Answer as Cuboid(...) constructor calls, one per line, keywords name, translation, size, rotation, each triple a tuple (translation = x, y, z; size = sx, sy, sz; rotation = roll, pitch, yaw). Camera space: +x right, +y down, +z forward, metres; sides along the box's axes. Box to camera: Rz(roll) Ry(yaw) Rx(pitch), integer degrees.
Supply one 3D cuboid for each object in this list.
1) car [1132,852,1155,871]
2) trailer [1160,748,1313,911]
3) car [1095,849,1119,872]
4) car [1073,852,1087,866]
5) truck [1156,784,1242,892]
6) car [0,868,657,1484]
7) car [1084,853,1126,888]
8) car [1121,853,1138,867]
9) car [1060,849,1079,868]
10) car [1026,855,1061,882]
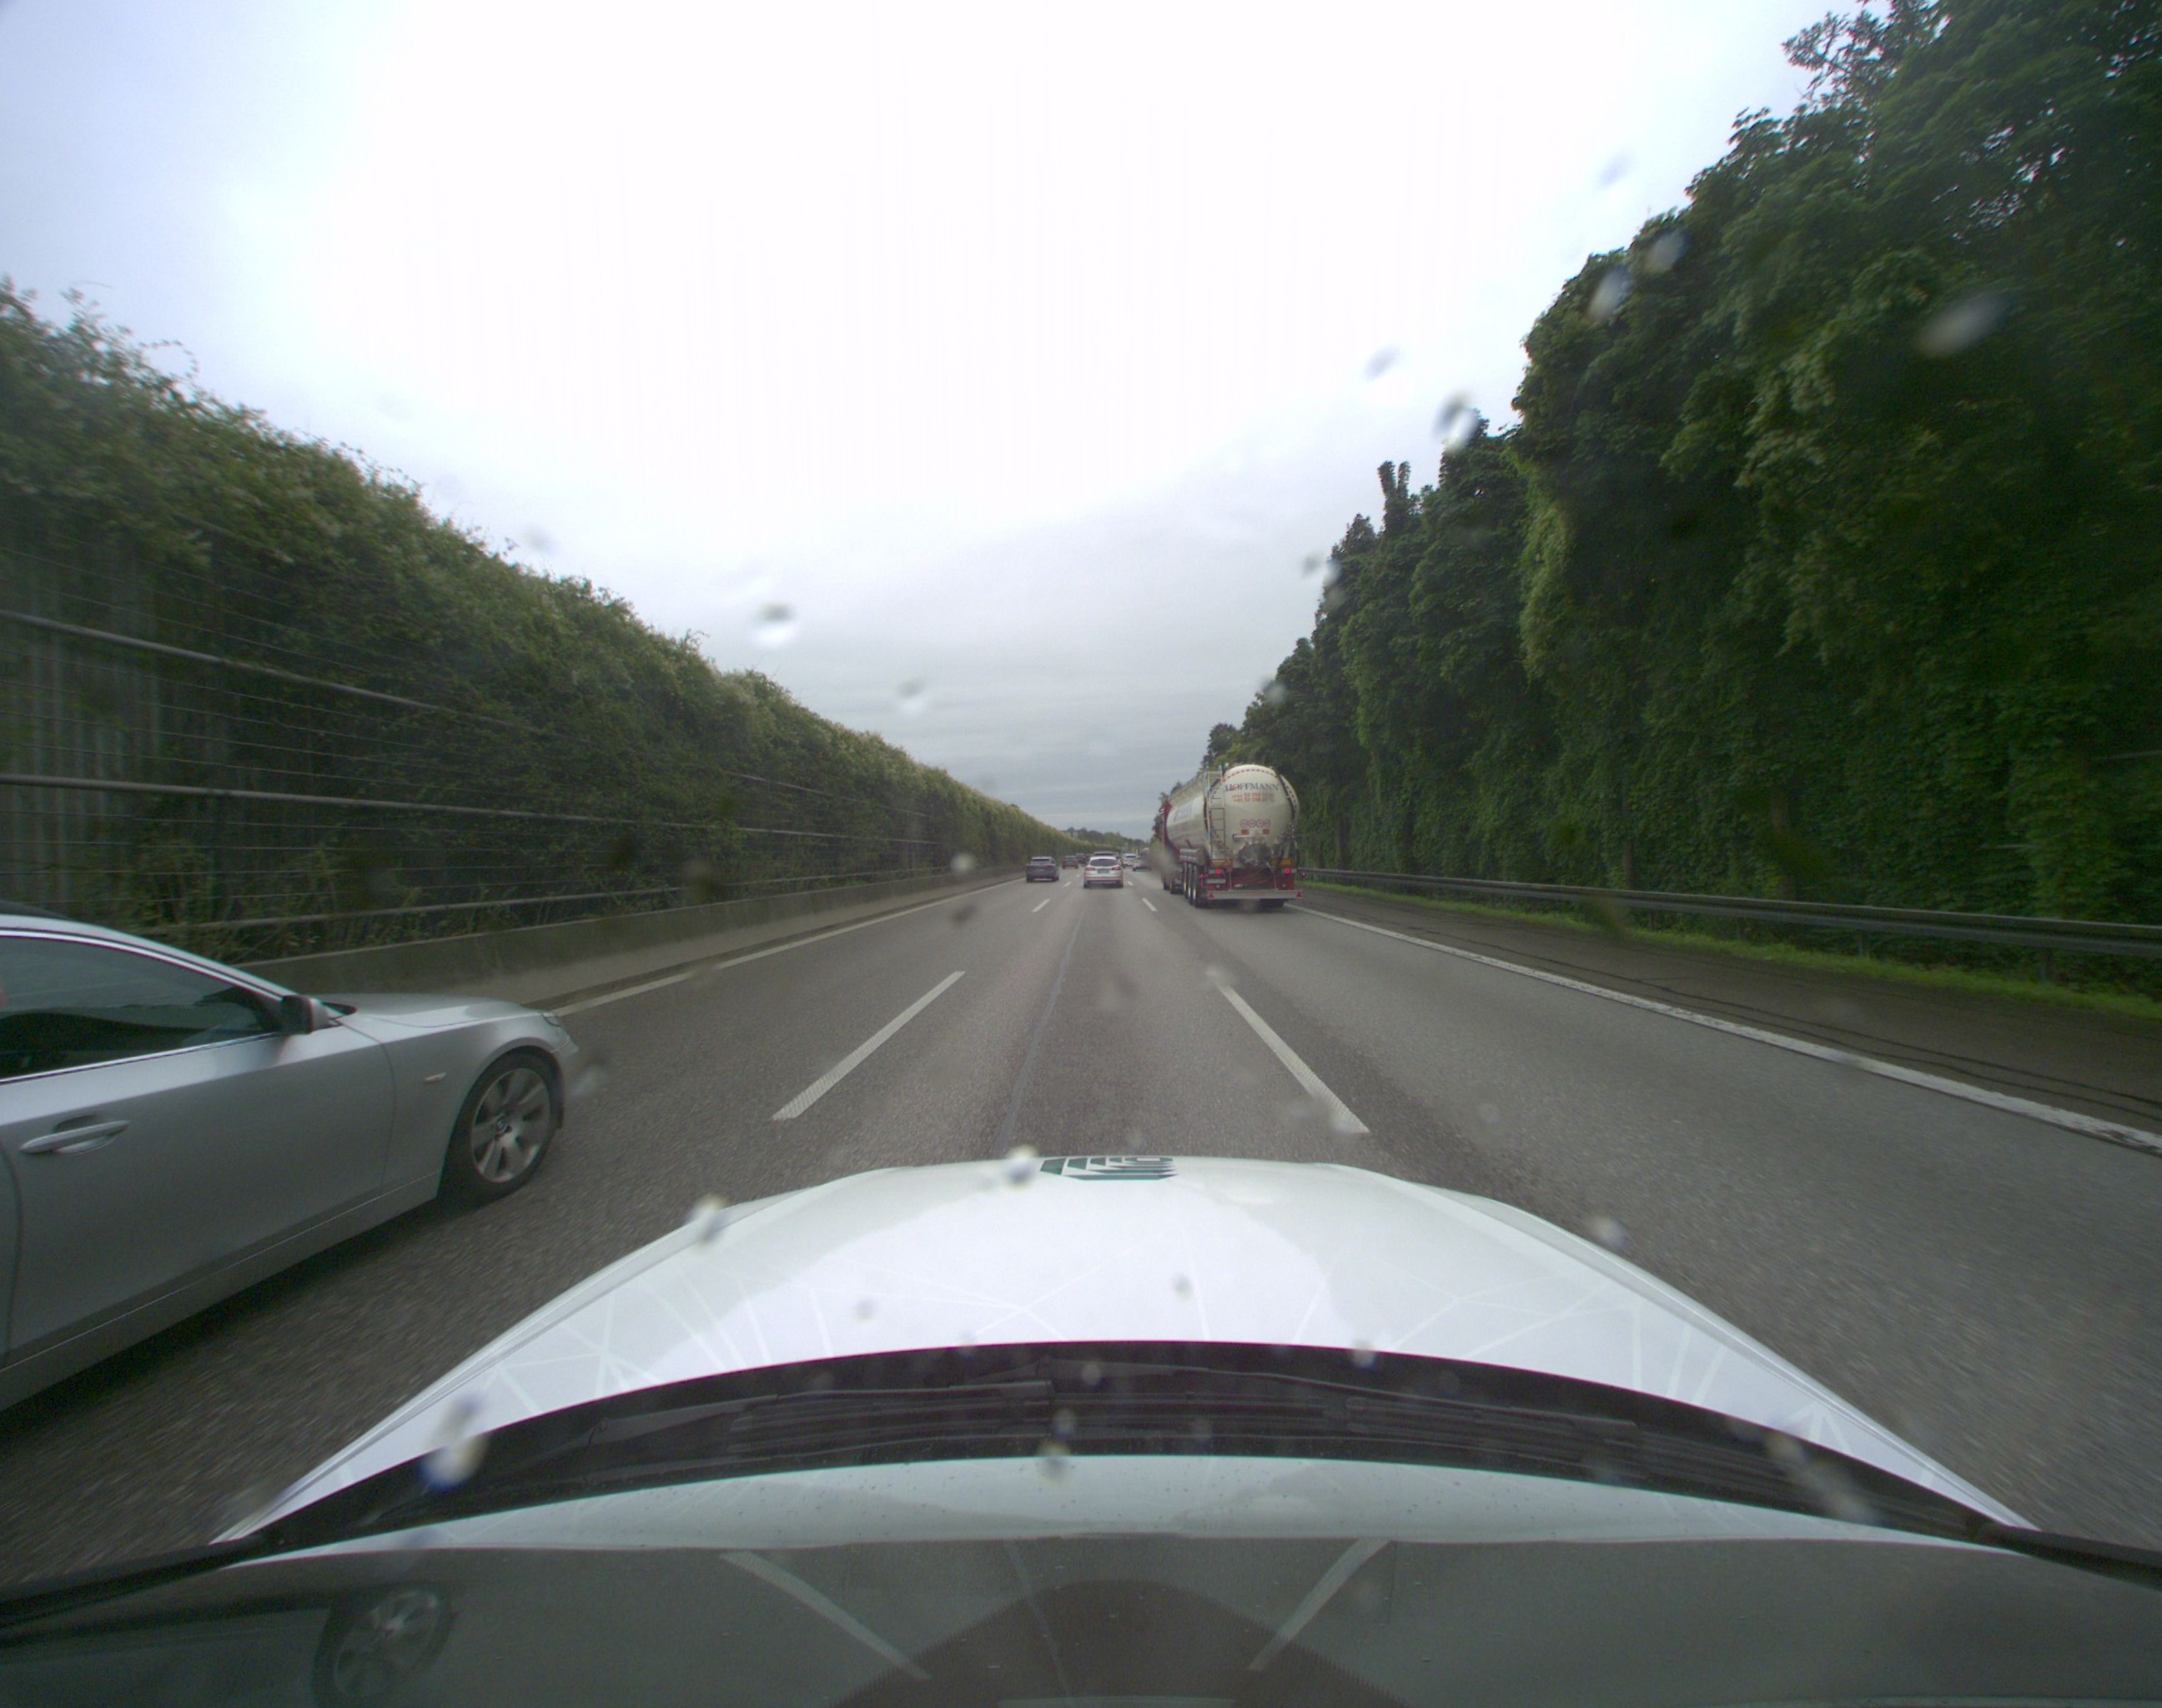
Cuboid(name="car", translation=(5.716, 0.664, 75.132), size=(1.810, 1.625, 5.030), rotation=(-1, 0, 1))
Cuboid(name="trailer", translation=(4.460, -0.551, 26.659), size=(2.659, 3.939, 13.132), rotation=(-2, -1, 1))
Cuboid(name="car", translation=(1.955, 0.480, 61.103), size=(1.682, 1.506, 3.873), rotation=(3, 1, 2))
Cuboid(name="car", translation=(-0.120, 0.751, 122.638), size=(1.986, 2.013, 4.002), rotation=(-1, 0, 2))
Cuboid(name="truck", translation=(4.602, -0.561, 33.067), size=(2.685, 3.912, 6.558), rotation=(0, -1, 1))
Cuboid(name="car", translation=(-3.430, 0.780, 2.279), size=(1.713, 1.469, 5.031), rotation=(0, -1, 2))
Cuboid(name="car", translation=(1.119, 0.748, 38.955), size=(1.885, 1.504, 5.031), rotation=(-1, 0, 1))
Cuboid(name="car", translation=(5.407, 0.652, 90.475), size=(1.683, 1.506, 3.871), rotation=(0, -1, 0))
Cuboid(name="car", translation=(-1.286, 0.497, 93.383), size=(1.986, 2.013, 3.843), rotation=(-1, 0, 2))
Cuboid(name="car", translation=(-2.208, 0.823, 48.733), size=(1.713, 1.512, 5.032), rotation=(-1, 0, 2))
